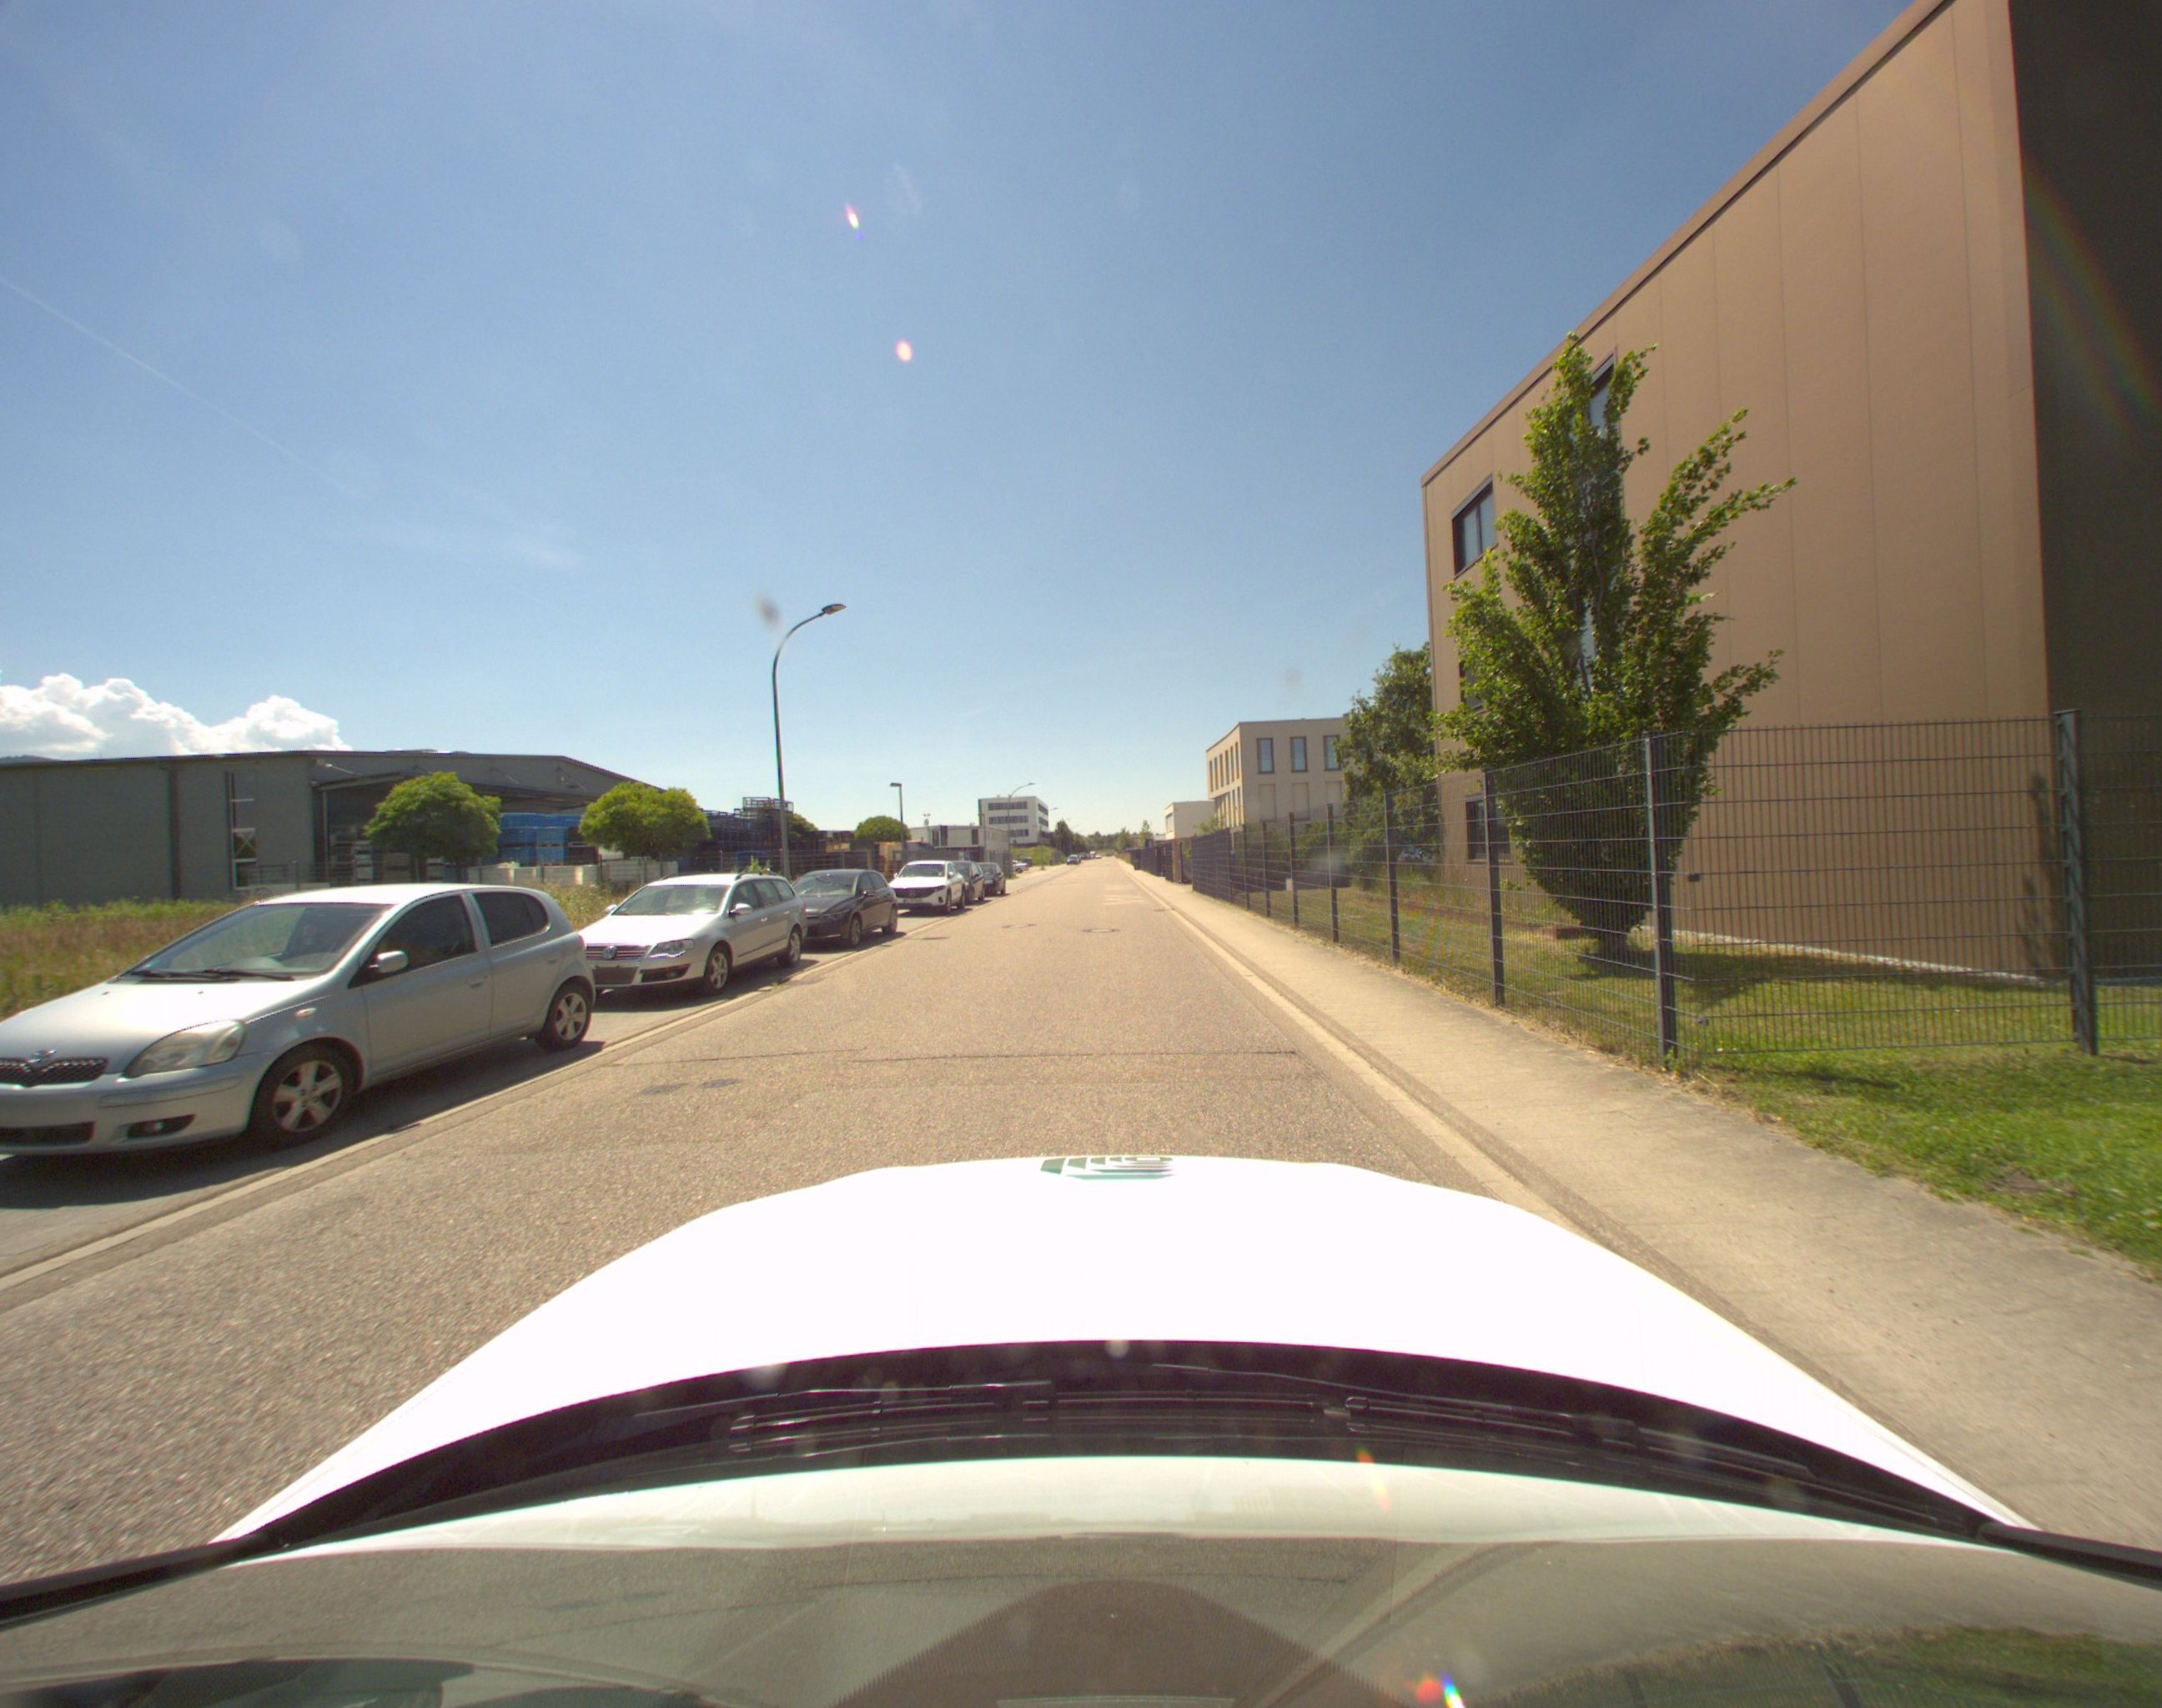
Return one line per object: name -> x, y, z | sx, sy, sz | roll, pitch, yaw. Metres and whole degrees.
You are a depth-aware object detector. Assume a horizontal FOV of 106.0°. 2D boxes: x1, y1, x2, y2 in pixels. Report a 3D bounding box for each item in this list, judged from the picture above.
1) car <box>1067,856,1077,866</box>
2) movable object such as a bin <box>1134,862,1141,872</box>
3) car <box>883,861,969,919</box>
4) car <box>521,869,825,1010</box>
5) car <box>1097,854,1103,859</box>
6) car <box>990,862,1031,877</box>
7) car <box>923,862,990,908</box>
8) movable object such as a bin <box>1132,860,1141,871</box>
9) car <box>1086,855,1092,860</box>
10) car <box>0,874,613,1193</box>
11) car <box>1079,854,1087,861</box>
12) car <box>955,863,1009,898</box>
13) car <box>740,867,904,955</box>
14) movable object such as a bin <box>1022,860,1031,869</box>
car -> -1.430, 1.105, 131.282 | 1.461, 1.489, 3.209 | -2, 0, 2
movable object such as a bin -> 5.772, 1.333, 83.154 | 0.549, 0.928, 0.523 | -7, 0, 6
car -> -4.692, 1.048, 25.243 | 1.763, 1.592, 4.360 | -1, 0, 1
car -> -5.327, 1.000, 11.522 | 1.769, 1.481, 4.816 | -1, 0, 1
car -> 5.942, 0.745, 254.164 | 1.797, 1.557, 4.002 | -3, 0, 2
car -> -7.775, 1.703, 90.155 | 4.262, 1.364, 1.898 | -3, 0, 1
car -> -4.630, 1.102, 30.879 | 1.763, 1.556, 4.501 | -1, 0, 1
movable object such as a bin -> 5.768, 1.208, 84.112 | 0.775, 1.019, 0.666 | -7, 0, 6
car -> 2.513, 1.024, 252.954 | 1.797, 1.557, 4.002 | -3, 0, 2
car -> -5.411, 0.967, 6.008 | 1.688, 1.525, 3.735 | -1, 0, 1
car -> 0.566, 0.841, 186.258 | 1.638, 1.489, 3.209 | -2, 0, 2
car -> -4.388, 1.154, 36.774 | 1.762, 1.461, 4.335 | -1, 0, 2
car -> -5.074, 1.055, 16.622 | 1.850, 1.481, 4.231 | -1, 0, 2
movable object such as a bin -> -8.403, 1.606, 125.163 | 1.282, 1.412, 1.805 | -2, 0, -2
